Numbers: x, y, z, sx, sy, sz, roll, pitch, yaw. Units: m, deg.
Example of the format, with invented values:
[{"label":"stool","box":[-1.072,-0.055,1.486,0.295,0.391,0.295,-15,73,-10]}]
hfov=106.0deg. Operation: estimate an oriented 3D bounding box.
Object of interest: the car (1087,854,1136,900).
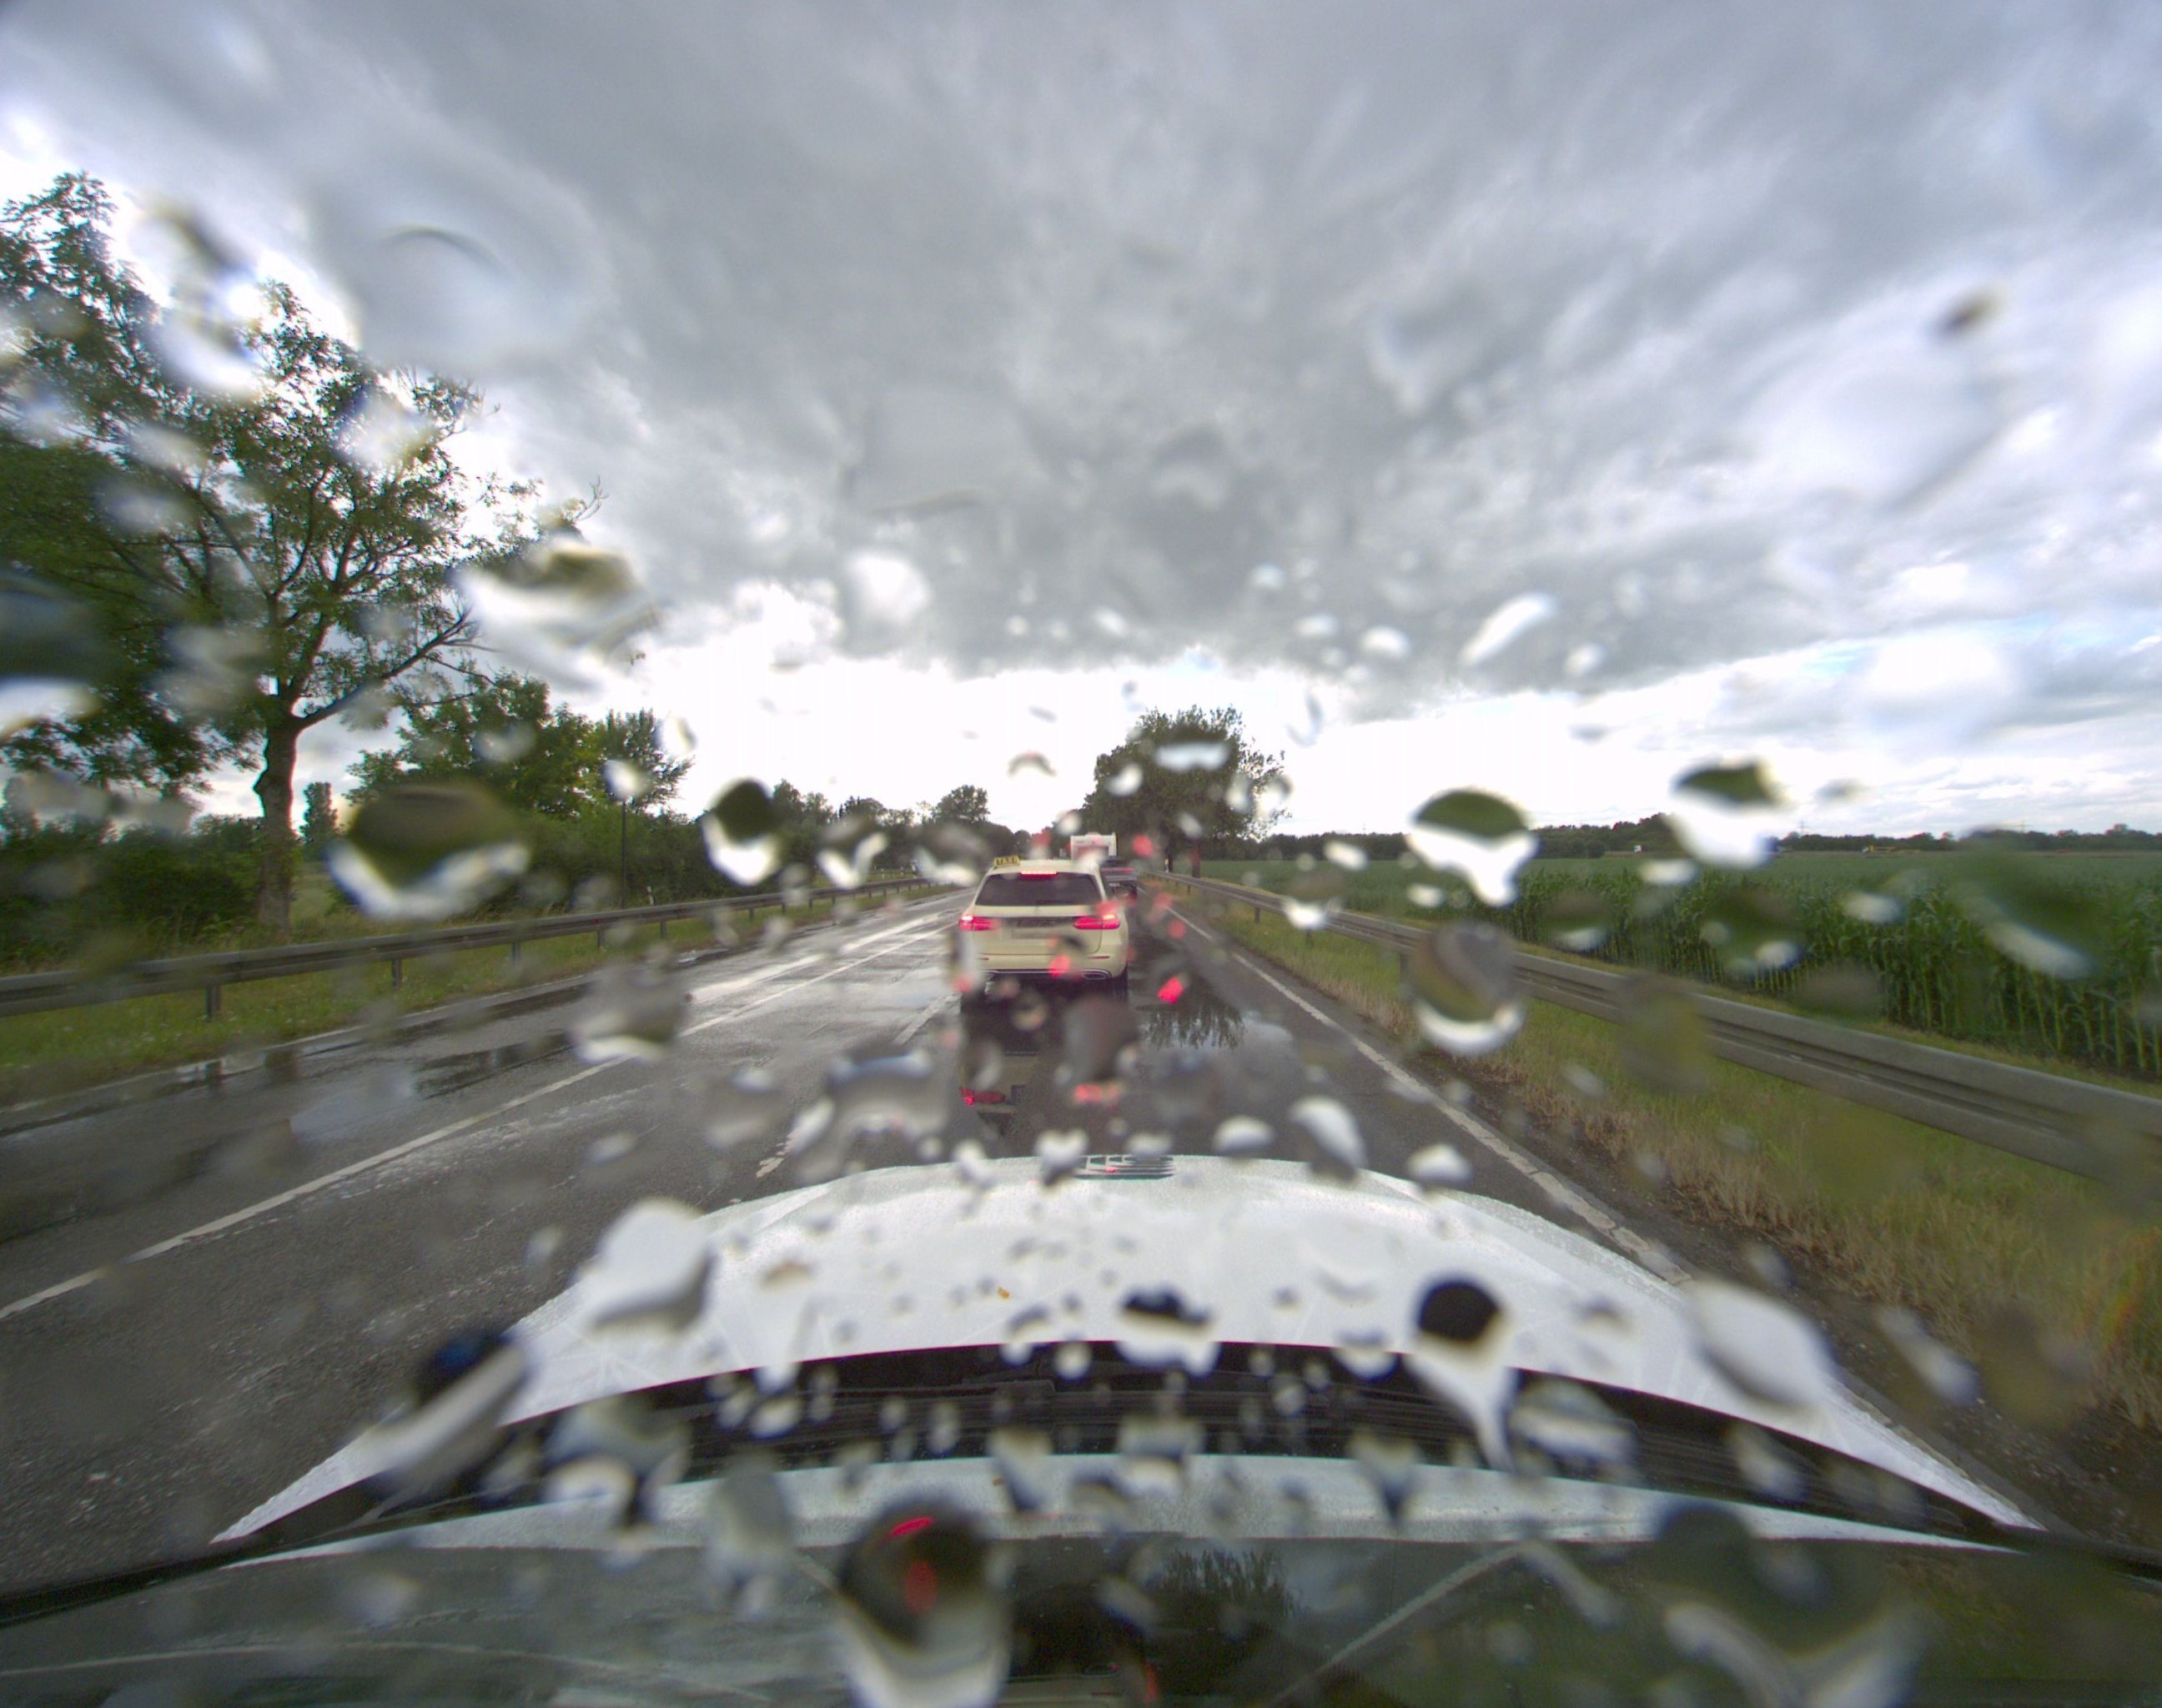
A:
[{"label":"car","box":[1.078,0.765,29.167,1.621,1.529,3.934,-1,0,2]}]

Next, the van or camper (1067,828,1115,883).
[{"label":"van or camper","box":[0.600,0.068,42.919,2.342,2.680,5.771,-1,0,2]}]

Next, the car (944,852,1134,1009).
[{"label":"car","box":[-0.304,0.752,9.990,1.817,1.485,4.148,-2,0,3]}]

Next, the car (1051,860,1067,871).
[{"label":"car","box":[-2.741,1.443,103.634,1.752,1.269,4.002,-1,0,2]}]
